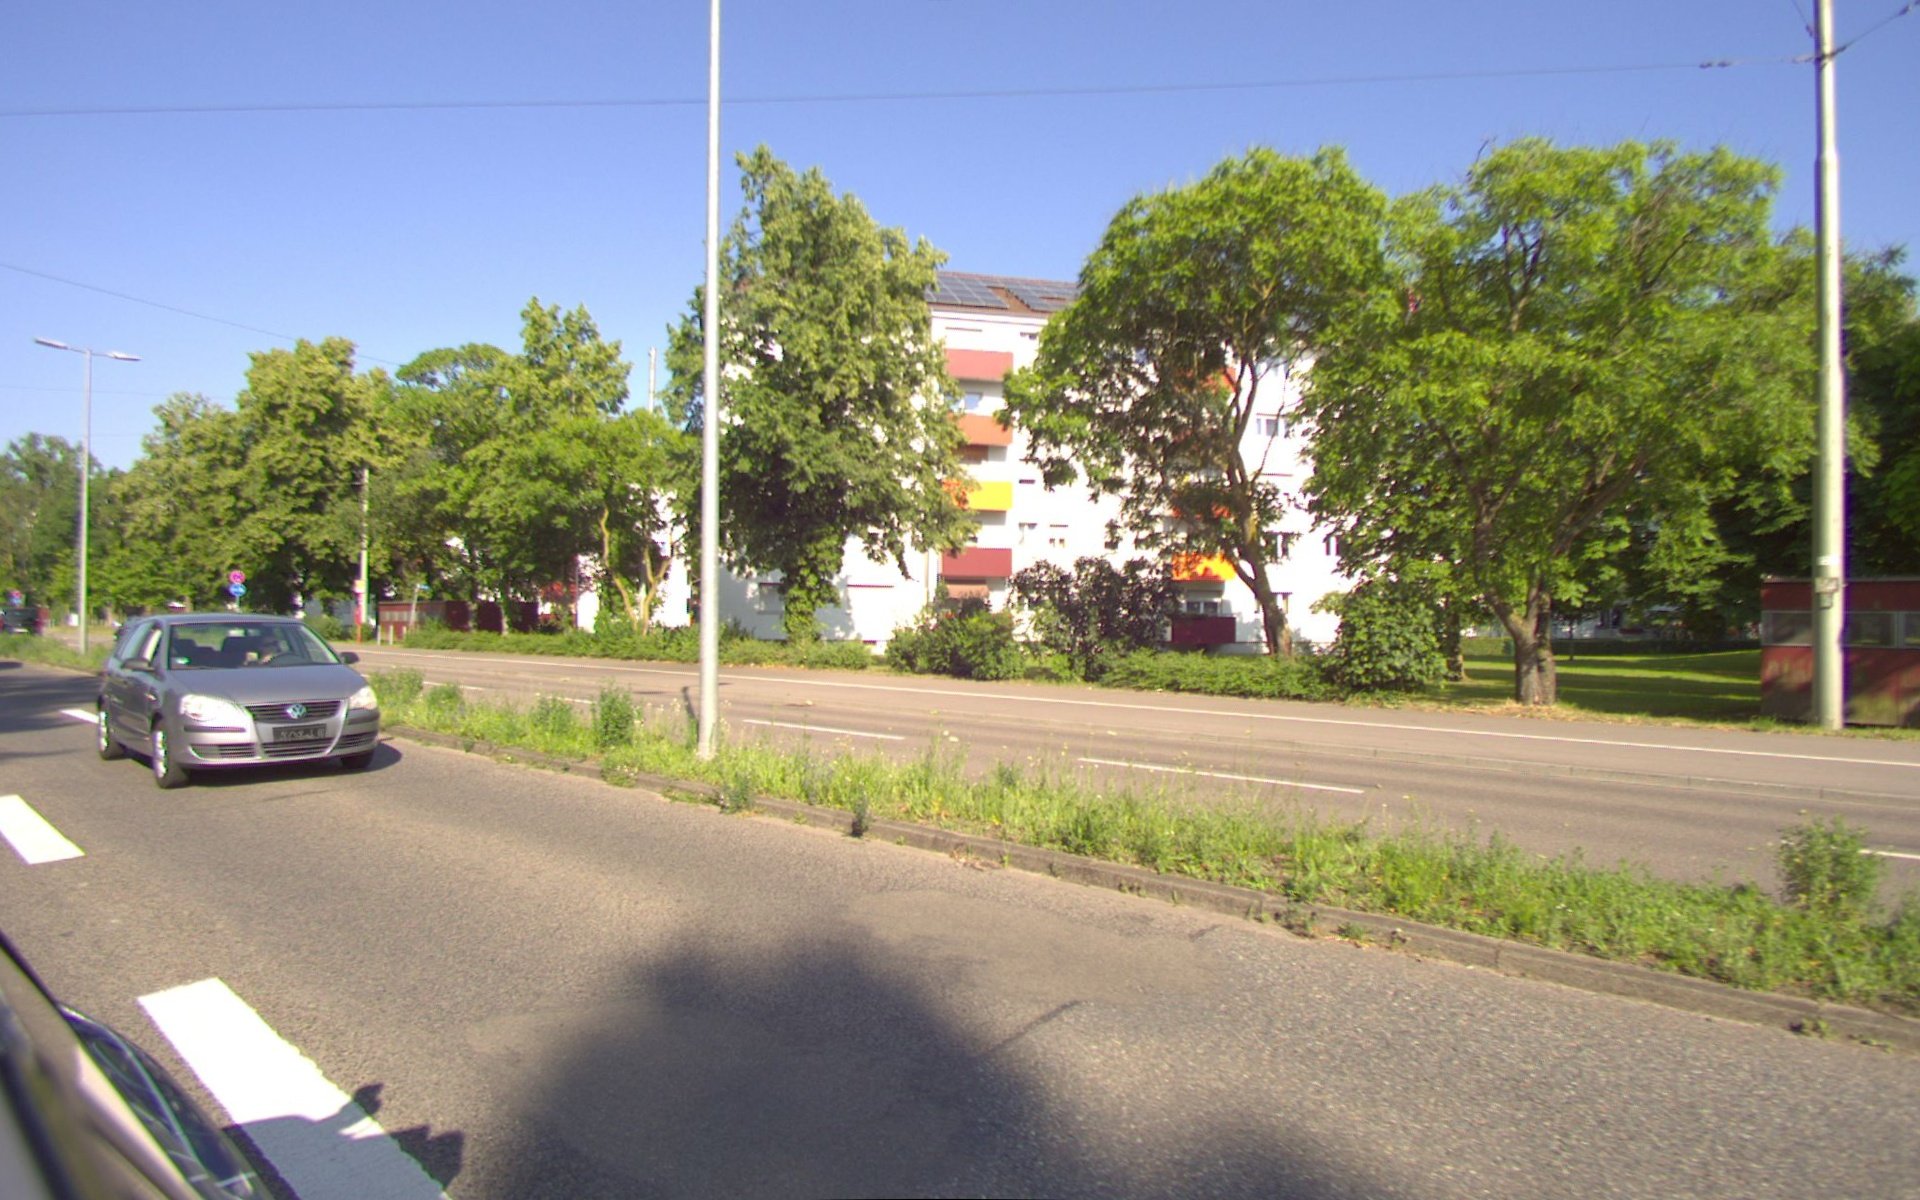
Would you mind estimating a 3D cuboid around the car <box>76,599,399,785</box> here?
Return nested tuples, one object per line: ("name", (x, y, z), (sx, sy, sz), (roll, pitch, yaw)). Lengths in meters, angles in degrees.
("car", (-7.054, 0.724, 9.743), (3.830, 1.439, 1.671), (0, 0, 41))

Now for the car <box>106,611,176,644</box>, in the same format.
("car", (-37.401, 1.228, 46.171), (4.323, 1.430, 1.706), (0, -2, 41))

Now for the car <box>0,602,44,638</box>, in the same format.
("car", (-48.461, 1.006, 51.738), (4.477, 1.798, 1.772), (-1, -2, 40))
